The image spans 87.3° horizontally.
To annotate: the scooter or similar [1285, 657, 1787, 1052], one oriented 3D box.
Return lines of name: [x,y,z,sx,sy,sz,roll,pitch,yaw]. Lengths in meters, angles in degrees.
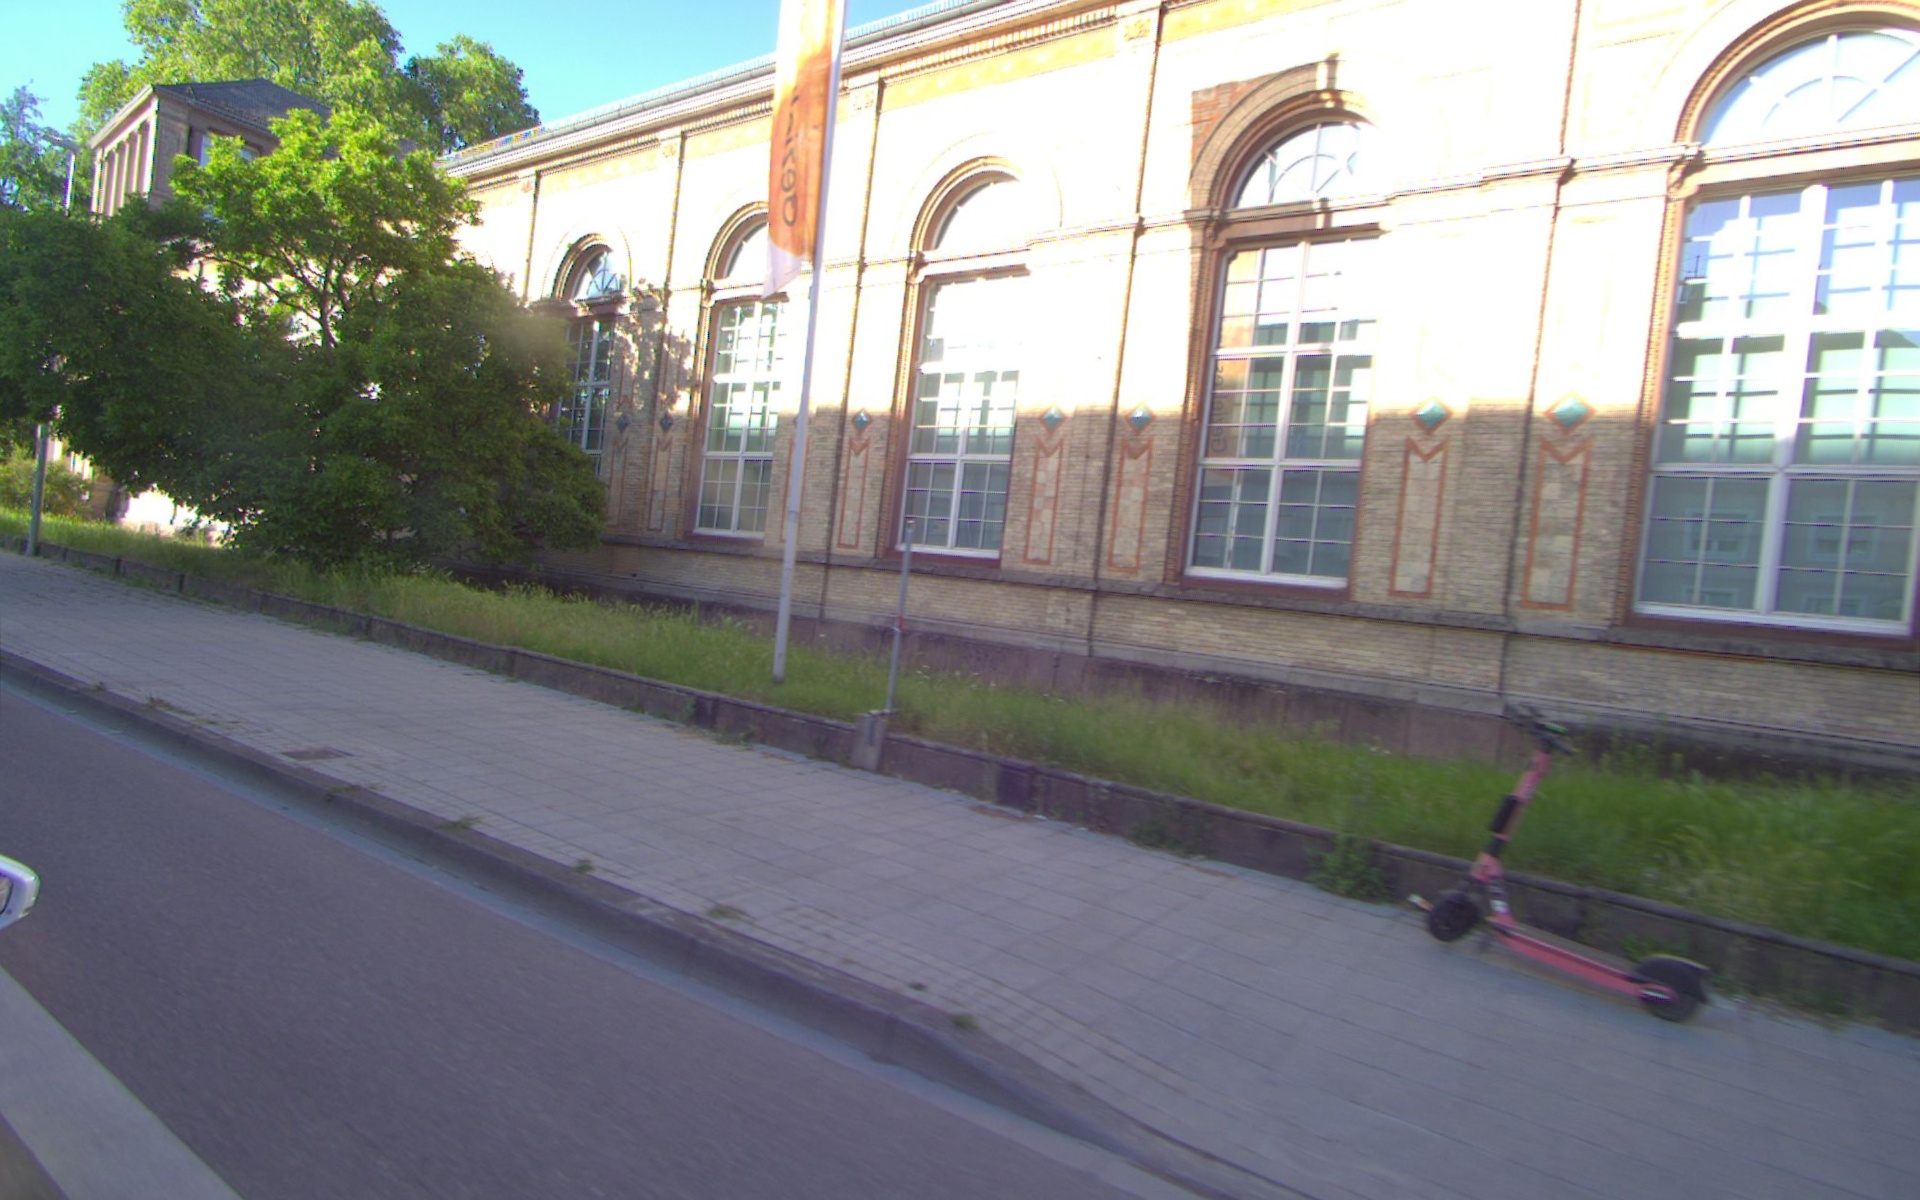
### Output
scooter or similar: [2.572,1.047,4.684,1.803,1.325,0.555,7,1,35]
